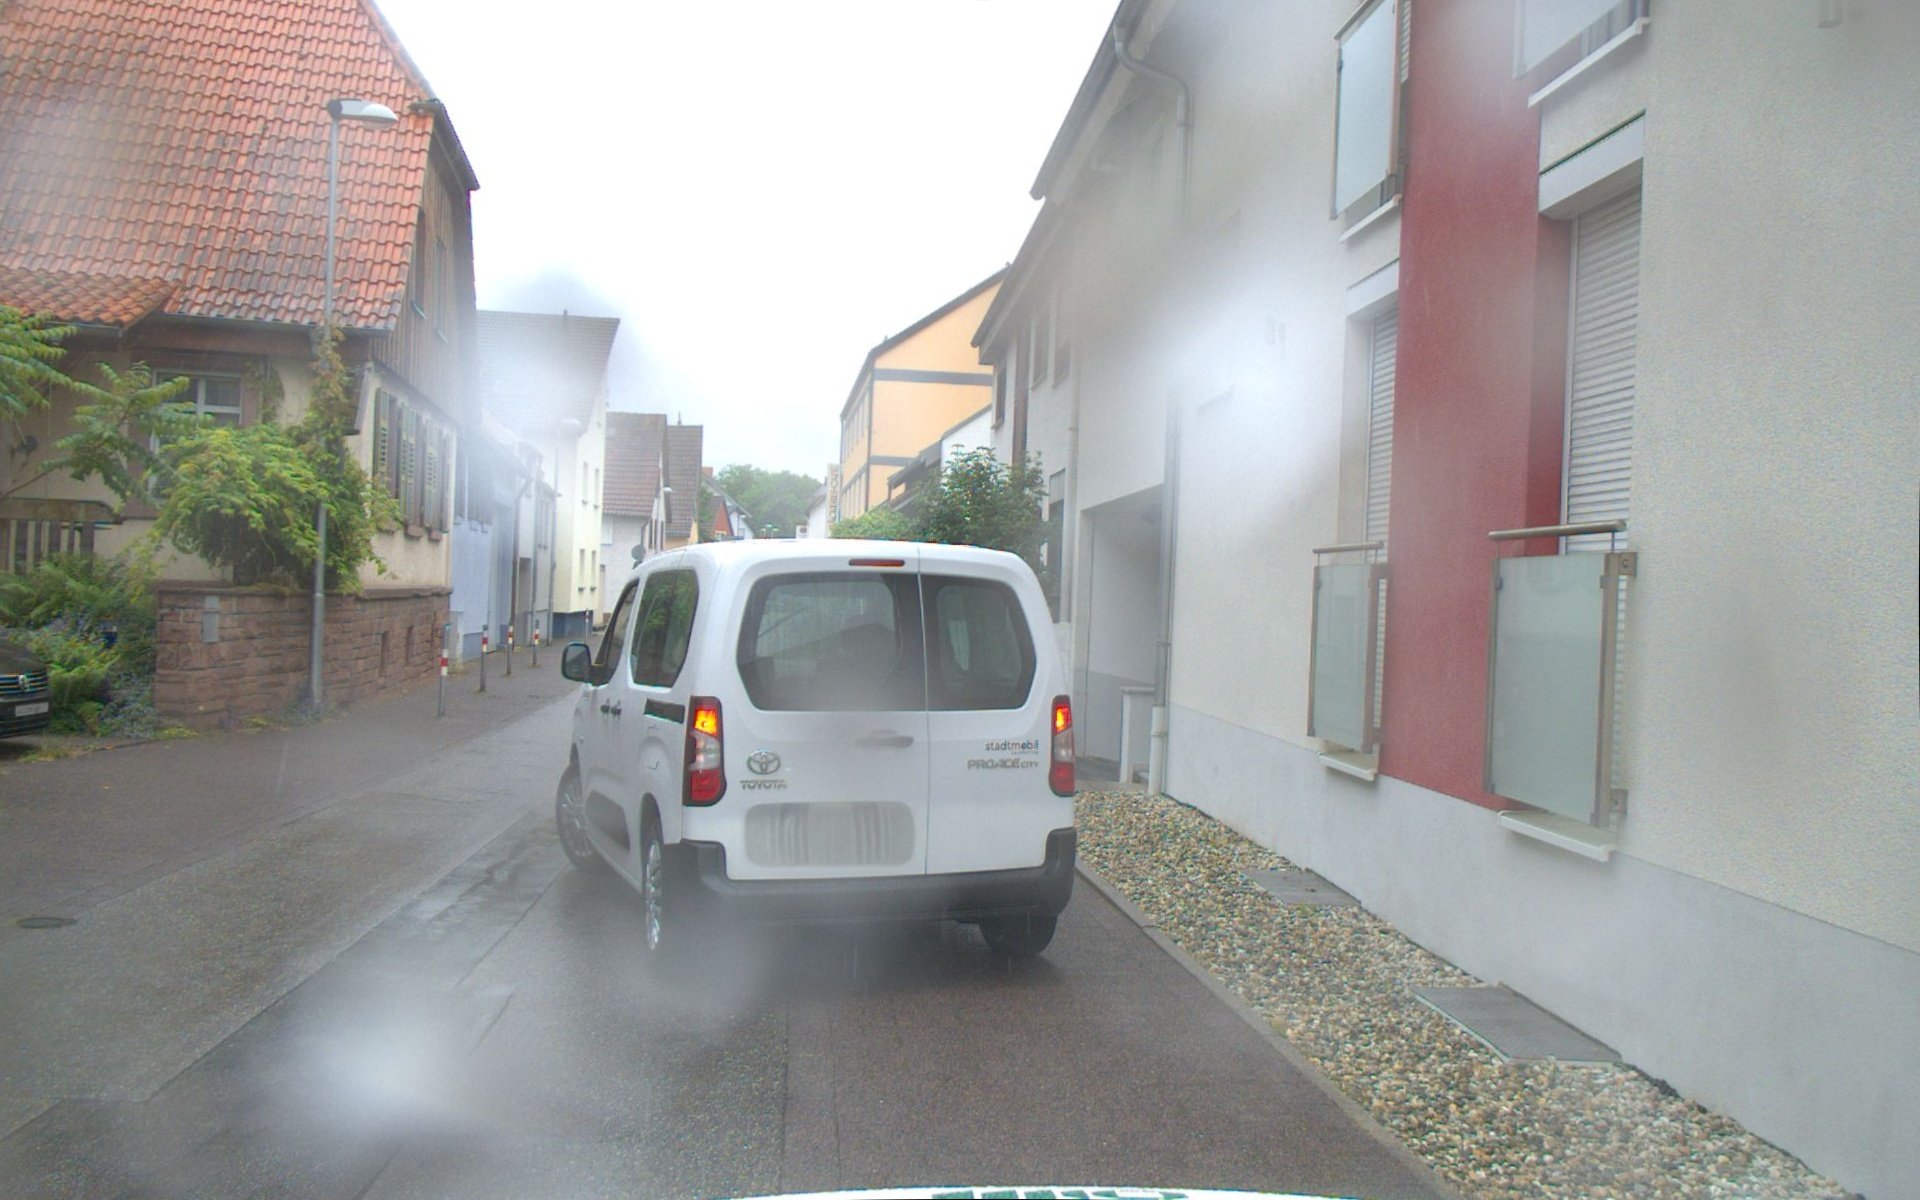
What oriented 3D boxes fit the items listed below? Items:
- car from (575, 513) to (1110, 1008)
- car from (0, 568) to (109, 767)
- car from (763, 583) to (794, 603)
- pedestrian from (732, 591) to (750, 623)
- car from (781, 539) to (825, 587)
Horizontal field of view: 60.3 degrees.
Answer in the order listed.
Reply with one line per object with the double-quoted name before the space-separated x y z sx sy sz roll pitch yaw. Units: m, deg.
"car" -0.842 0.601 8.239 1.747 1.811 3.980 1 0 -18
"car" -9.145 0.315 12.957 3.908 1.450 1.735 7 -1 0
"car" -15.413 -0.582 140.817 1.951 1.586 3.434 -1 2 6
"pedestrian" -13.380 0.442 101.143 1.031 1.926 0.875 1 -1 -8
"car" -7.209 -1.678 76.232 1.955 2.049 3.996 1 0 -5
